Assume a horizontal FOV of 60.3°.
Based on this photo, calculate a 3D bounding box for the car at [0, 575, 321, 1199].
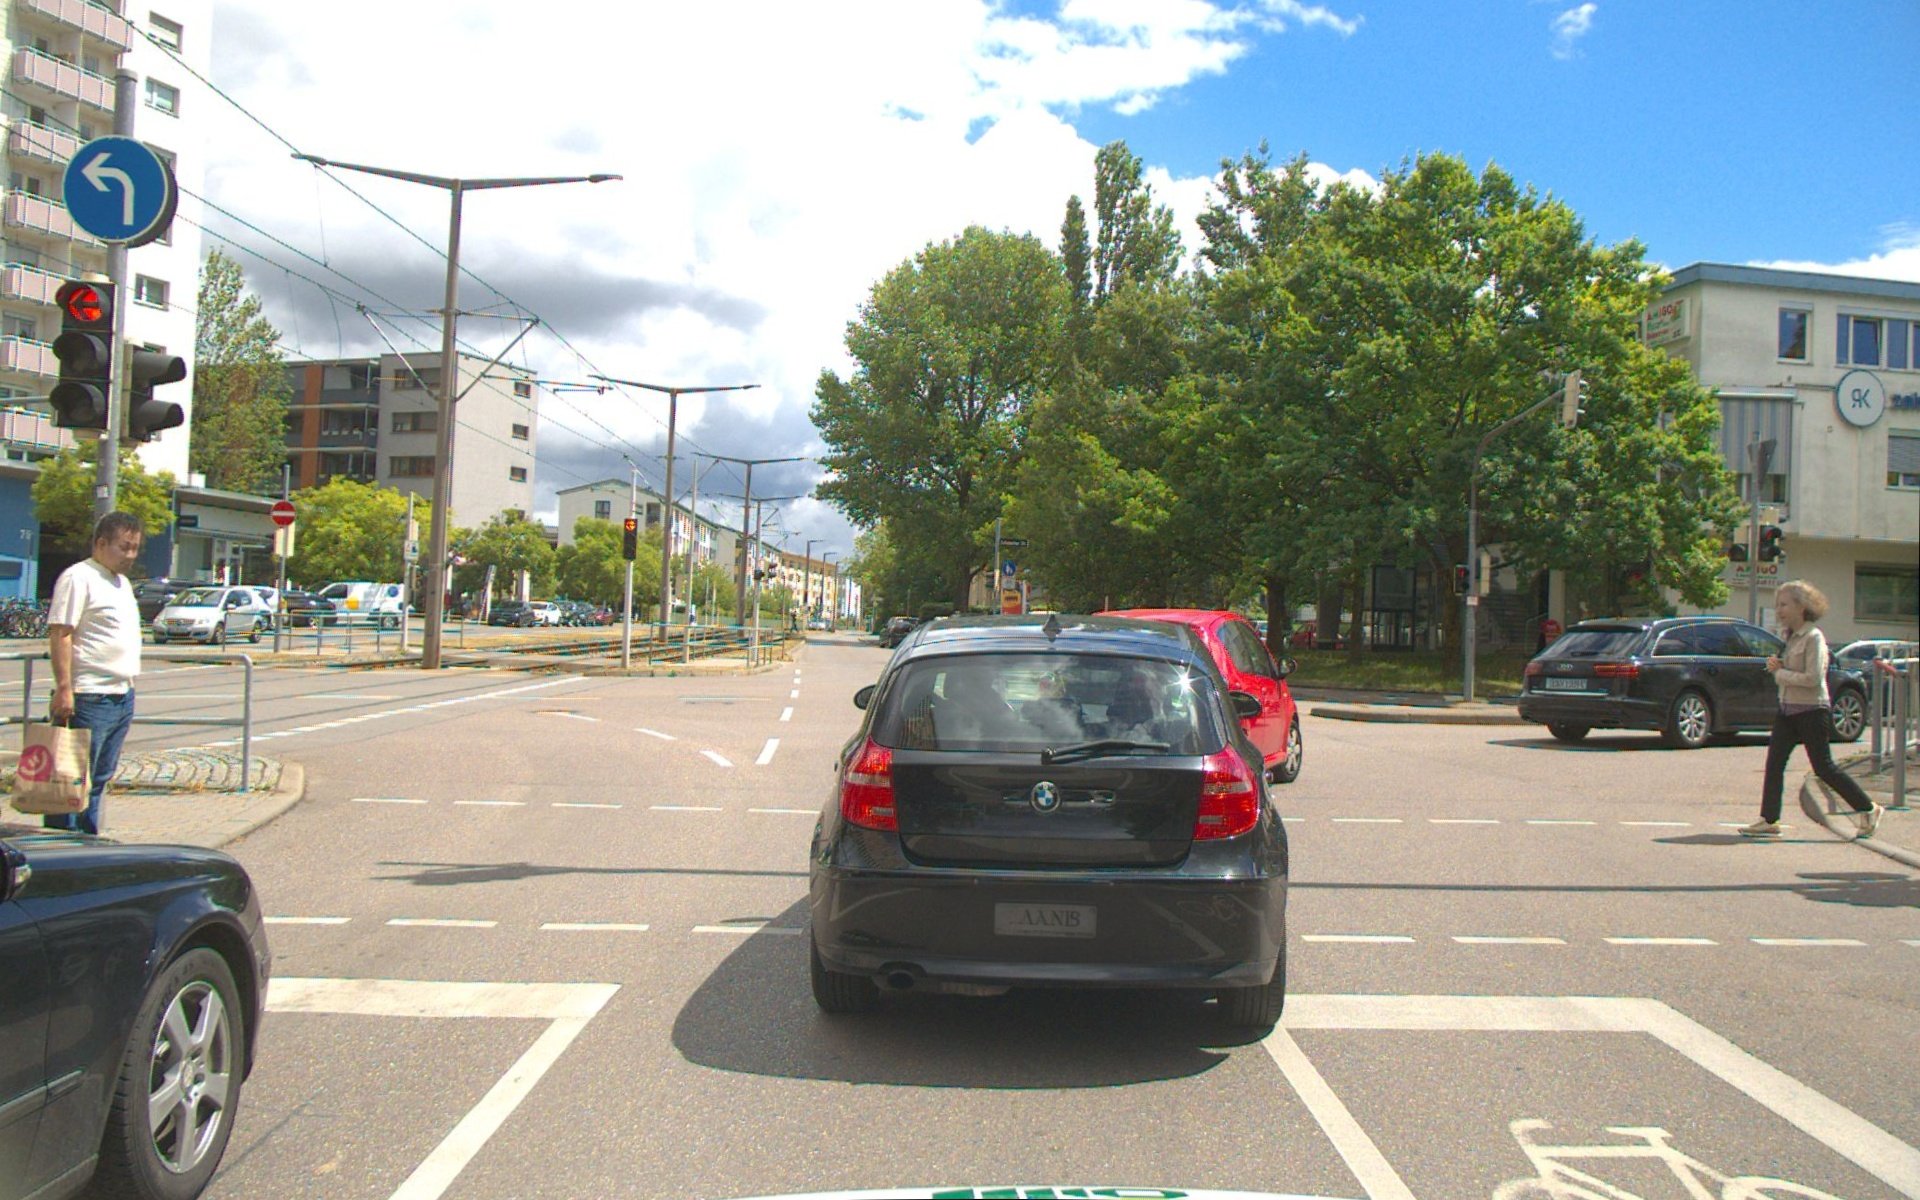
[{"bbox_3d":[-2.602,0.680,2.268,1.693,1.487,4.543,1,0,-1],"label":"car"}]

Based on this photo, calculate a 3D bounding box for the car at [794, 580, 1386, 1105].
[{"bbox_3d":[0.364,0.712,6.884,1.717,1.513,3.999,1,0,-1],"label":"car"}]

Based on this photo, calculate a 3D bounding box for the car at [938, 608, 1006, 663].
[{"bbox_3d":[0.373,1.158,54.215,2.108,1.713,3.999,1,-1,-1],"label":"car"}]

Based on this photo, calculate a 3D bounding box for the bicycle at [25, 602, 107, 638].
[{"bbox_3d":[-24.743,0.546,45.803,1.909,0.951,0.494,1,-1,-7],"label":"bicycle"}]

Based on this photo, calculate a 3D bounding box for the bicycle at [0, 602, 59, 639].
[{"bbox_3d":[-24.643,0.535,43.179,1.909,0.951,0.494,1,-1,-7],"label":"bicycle"}]

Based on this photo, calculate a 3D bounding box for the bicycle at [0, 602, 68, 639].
[{"bbox_3d":[-24.689,0.537,43.684,1.909,0.951,0.494,1,-1,-7],"label":"bicycle"}]

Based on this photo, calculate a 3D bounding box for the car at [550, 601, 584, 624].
[{"bbox_3d":[-25.453,0.781,107.206,1.728,1.419,3.994,1,0,-7],"label":"car"}]

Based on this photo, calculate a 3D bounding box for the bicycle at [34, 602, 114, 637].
[{"bbox_3d":[-24.798,0.548,46.307,1.909,0.951,0.494,1,-1,-7],"label":"bicycle"}]

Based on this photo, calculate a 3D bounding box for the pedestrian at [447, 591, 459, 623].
[{"bbox_3d":[-28.295,0.382,92.326,0.537,1.746,0.404,1,0,-11],"label":"pedestrian"}]

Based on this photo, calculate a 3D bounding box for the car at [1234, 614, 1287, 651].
[{"bbox_3d":[14.359,1.536,79.165,1.598,1.623,3.997,1,0,-4],"label":"car"}]

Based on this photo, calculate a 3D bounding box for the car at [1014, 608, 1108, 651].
[{"bbox_3d":[4.642,1.341,75.784,3.933,1.855,1.766,1,0,-23],"label":"car"}]

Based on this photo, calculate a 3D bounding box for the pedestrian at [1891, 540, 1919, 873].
[{"bbox_3d":[5.658,0.577,8.827,0.917,1.796,0.770,0,0,-12],"label":"pedestrian"}]

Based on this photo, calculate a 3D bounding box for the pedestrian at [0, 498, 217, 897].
[{"bbox_3d":[-4.218,0.451,8.049,0.851,1.839,0.741,1,0,-5],"label":"pedestrian"}]

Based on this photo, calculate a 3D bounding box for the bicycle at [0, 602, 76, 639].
[{"bbox_3d":[-24.733,0.538,44.159,1.909,0.951,0.494,1,-1,-7],"label":"bicycle"}]

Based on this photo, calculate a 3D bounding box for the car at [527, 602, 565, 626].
[{"bbox_3d":[-25.167,0.847,100.643,1.728,1.419,3.994,1,0,-7],"label":"car"}]

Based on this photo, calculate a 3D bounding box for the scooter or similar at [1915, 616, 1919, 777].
[{"bbox_3d":[8.398,0.798,13.132,1.315,1.299,0.462,1,1,6],"label":"scooter or similar"}]

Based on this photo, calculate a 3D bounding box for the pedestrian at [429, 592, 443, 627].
[{"bbox_3d":[-26.402,0.456,83.358,0.537,1.746,0.667,1,0,-10],"label":"pedestrian"}]

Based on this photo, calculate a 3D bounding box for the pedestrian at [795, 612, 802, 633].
[{"bbox_3d":[-12.889,1.769,131.657,0.469,1.665,0.454,1,0,-2],"label":"pedestrian"}]

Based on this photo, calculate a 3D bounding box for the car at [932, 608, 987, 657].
[{"bbox_3d":[-0.040,1.215,61.657,1.953,1.713,3.999,1,-1,-1],"label":"car"}]

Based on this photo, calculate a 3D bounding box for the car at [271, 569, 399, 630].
[{"bbox_3d":[-27.088,-0.042,71.564,2.810,2.522,6.614,1,0,-44],"label":"car"}]

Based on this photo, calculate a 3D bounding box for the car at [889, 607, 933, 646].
[{"bbox_3d":[-2.251,1.221,76.996,1.953,1.713,3.999,1,0,-1],"label":"car"}]

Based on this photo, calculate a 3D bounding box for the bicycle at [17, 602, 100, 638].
[{"bbox_3d":[-24.694,0.545,45.313,1.909,0.951,0.494,1,-1,-7],"label":"bicycle"}]

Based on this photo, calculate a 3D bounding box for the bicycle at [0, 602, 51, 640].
[{"bbox_3d":[-24.586,0.534,42.701,1.909,0.951,0.494,1,-1,-7],"label":"bicycle"}]

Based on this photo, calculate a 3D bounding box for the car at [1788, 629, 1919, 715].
[{"bbox_3d":[18.773,1.417,32.776,3.838,1.583,1.994,1,0,-12],"label":"car"}]

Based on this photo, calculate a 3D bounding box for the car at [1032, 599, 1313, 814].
[{"bbox_3d":[1.811,0.750,13.295,1.510,1.466,3.196,1,0,21],"label":"car"}]

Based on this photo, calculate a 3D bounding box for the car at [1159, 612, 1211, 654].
[{"bbox_3d":[10.444,1.497,76.936,1.598,1.842,4.029,1,0,-4],"label":"car"}]

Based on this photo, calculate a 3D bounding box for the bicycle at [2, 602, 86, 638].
[{"bbox_3d":[-24.744,0.541,44.705,1.909,0.951,0.494,1,-1,-7],"label":"bicycle"}]

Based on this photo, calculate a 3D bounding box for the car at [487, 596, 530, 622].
[{"bbox_3d":[-25.375,0.504,93.099,1.728,1.419,3.994,1,0,-7],"label":"car"}]

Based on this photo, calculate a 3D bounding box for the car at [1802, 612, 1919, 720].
[{"bbox_3d":[17.230,1.137,28.534,4.472,1.747,1.997,1,0,-8],"label":"car"}]

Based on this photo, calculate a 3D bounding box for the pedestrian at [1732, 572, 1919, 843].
[{"bbox_3d":[5.700,0.675,10.928,0.932,1.703,0.871,0,0,14],"label":"pedestrian"}]

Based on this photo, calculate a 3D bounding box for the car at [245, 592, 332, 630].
[{"bbox_3d":[-27.068,0.430,66.628,1.777,1.445,4.148,1,0,-45],"label":"car"}]

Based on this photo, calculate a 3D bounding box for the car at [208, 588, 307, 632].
[{"bbox_3d":[-26.925,0.366,63.315,4.144,1.564,1.949,1,0,43],"label":"car"}]

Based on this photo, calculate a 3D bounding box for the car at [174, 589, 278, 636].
[{"bbox_3d":[-26.645,0.459,60.006,4.144,1.597,1.949,1,0,43],"label":"car"}]

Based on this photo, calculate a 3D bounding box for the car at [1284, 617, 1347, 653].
[{"bbox_3d":[17.072,1.655,79.614,1.698,1.623,3.993,1,0,-8],"label":"car"}]

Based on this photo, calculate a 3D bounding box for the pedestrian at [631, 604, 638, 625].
[{"bbox_3d":[-26.496,1.165,134.582,0.444,1.665,0.480,1,0,-3],"label":"pedestrian"}]

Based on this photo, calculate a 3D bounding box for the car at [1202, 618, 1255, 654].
[{"bbox_3d":[12.580,1.668,77.774,1.598,1.600,4.029,1,0,-4],"label":"car"}]

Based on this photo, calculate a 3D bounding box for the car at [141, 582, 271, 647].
[{"bbox_3d":[-21.277,0.393,46.857,1.897,1.722,3.872,1,0,-1],"label":"car"}]

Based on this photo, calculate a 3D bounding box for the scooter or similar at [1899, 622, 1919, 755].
[{"bbox_3d":[9.208,0.822,14.950,1.338,1.176,0.539,3,0,-26],"label":"scooter or similar"}]

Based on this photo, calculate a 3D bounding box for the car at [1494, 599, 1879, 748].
[{"bbox_3d":[8.635,0.822,19.574,4.460,1.581,1.980,1,-1,-31],"label":"car"}]
